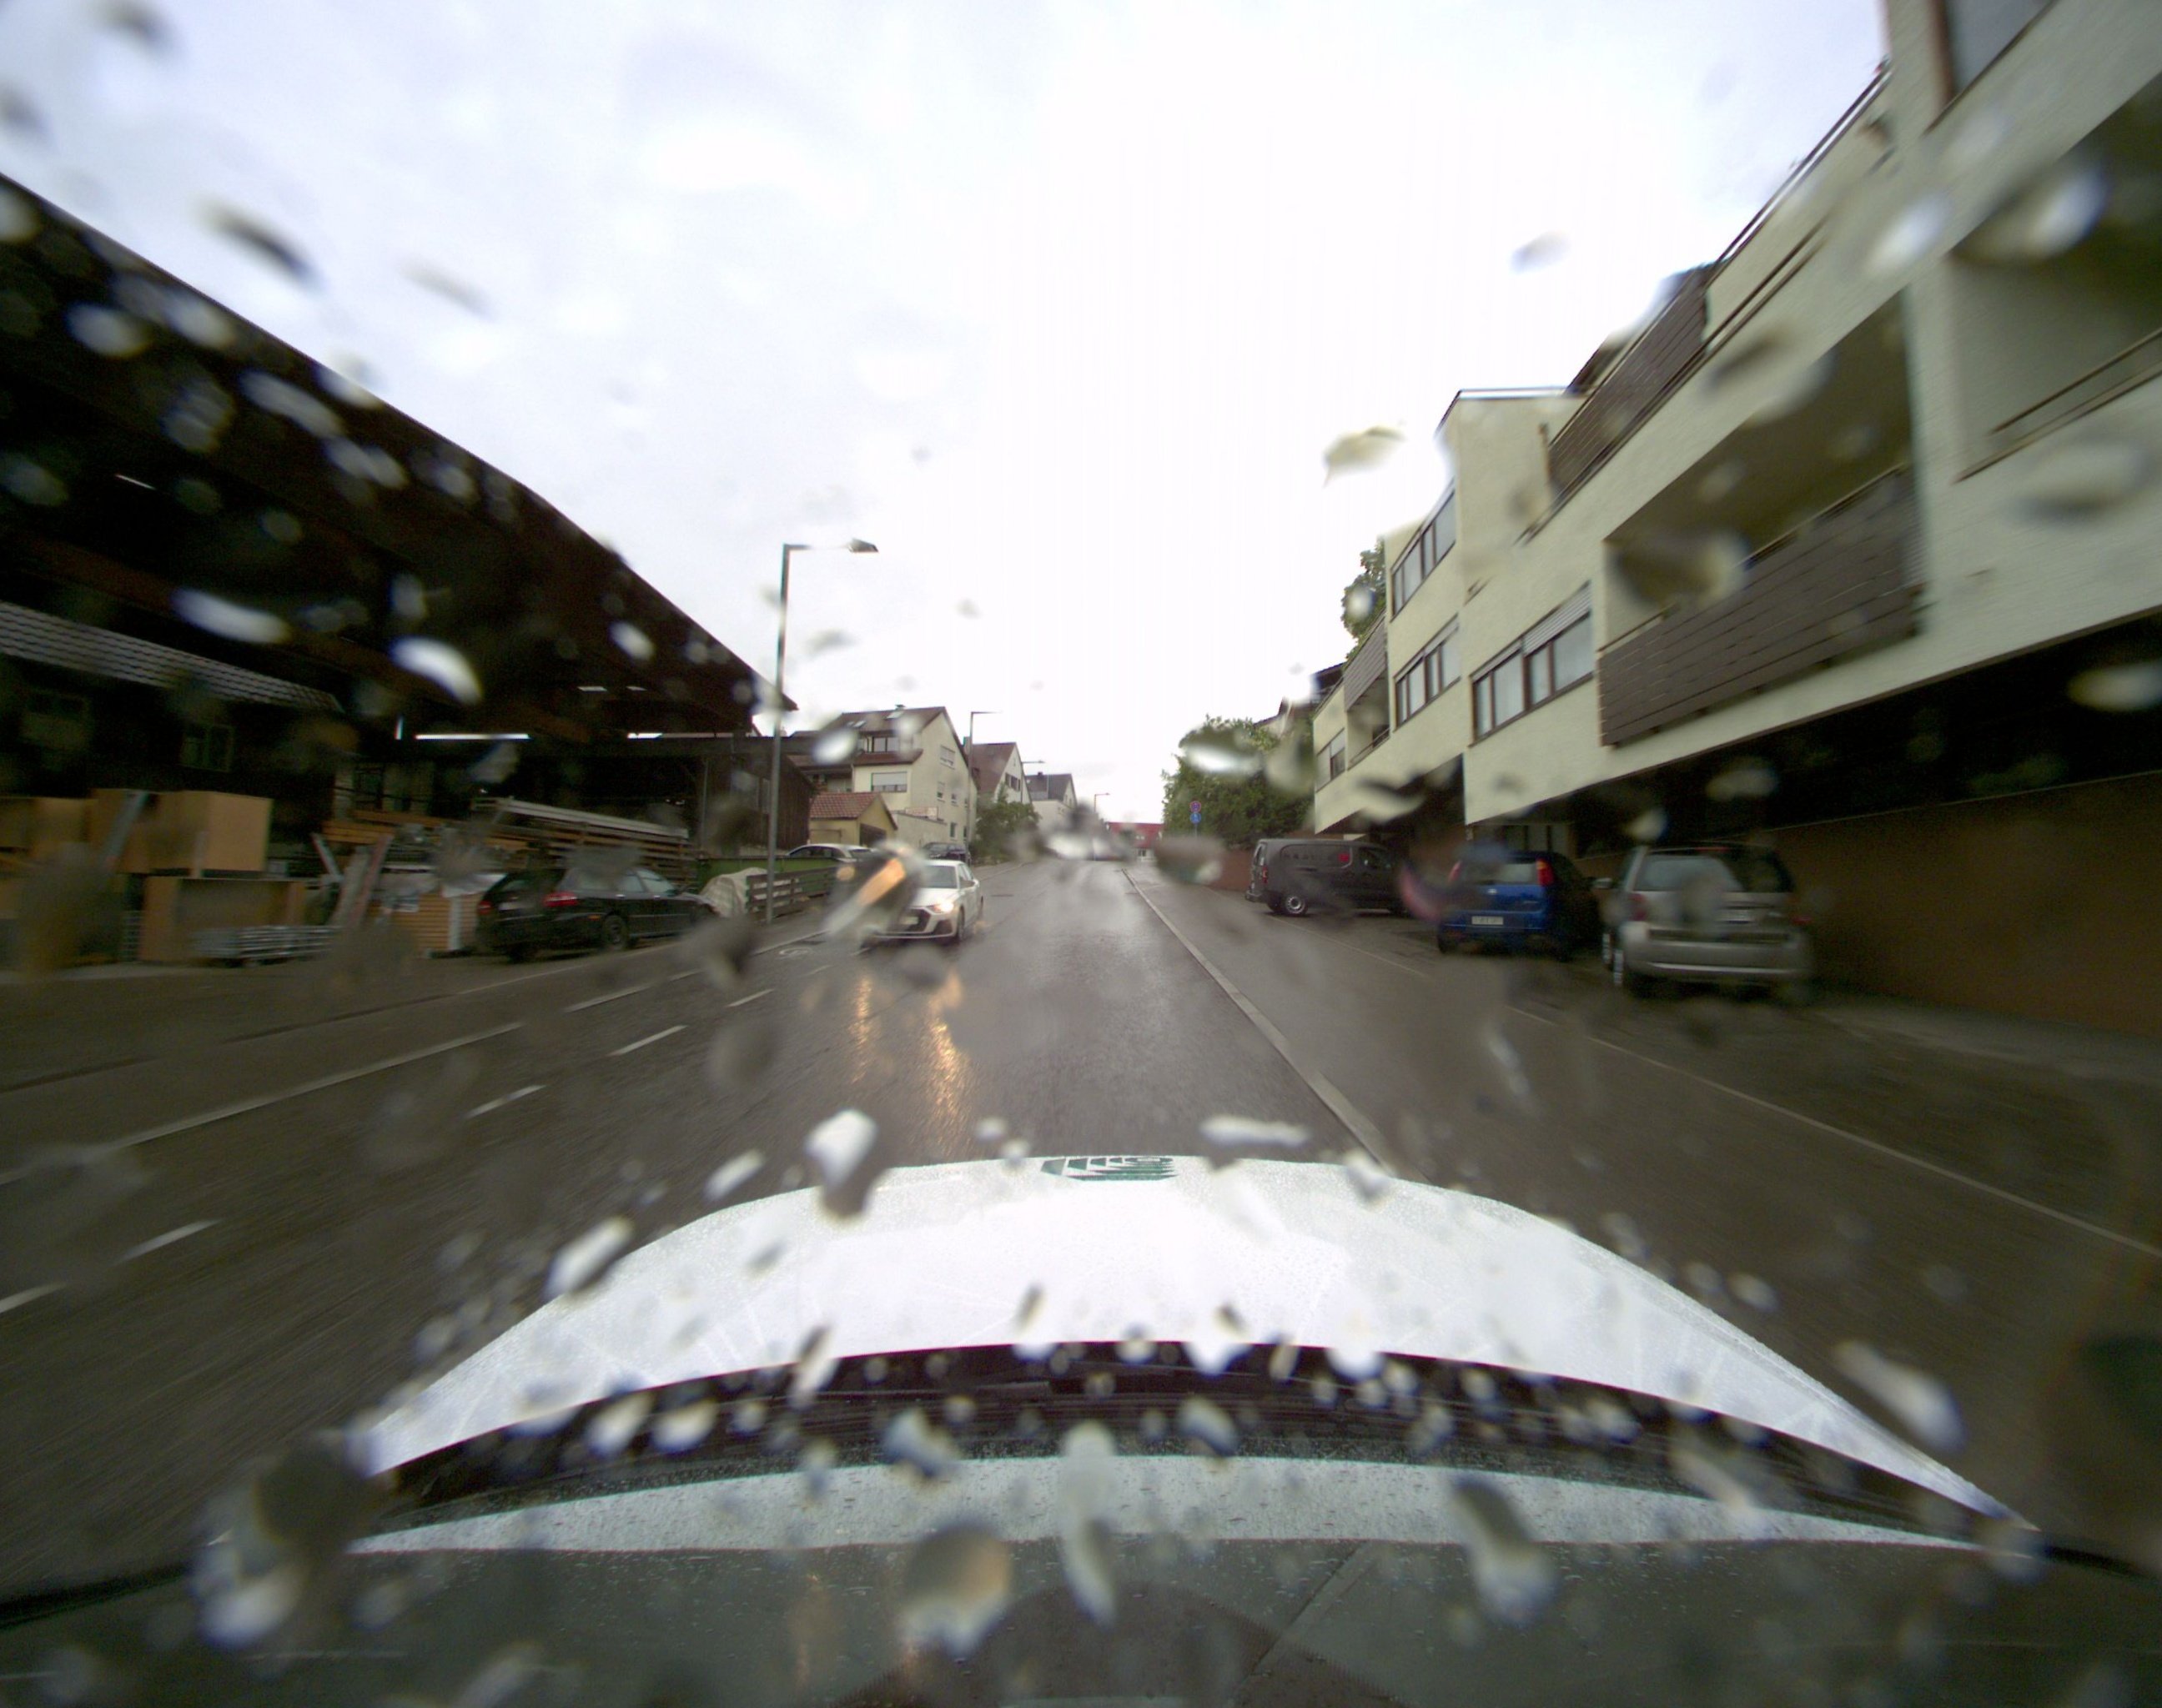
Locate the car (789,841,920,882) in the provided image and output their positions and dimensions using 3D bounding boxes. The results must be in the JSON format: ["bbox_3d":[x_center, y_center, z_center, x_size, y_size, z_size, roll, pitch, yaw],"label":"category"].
[{"bbox_3d":[-8.648,0.272,31.198,4.465,1.505,1.907,0,0,13],"label":"car"}]

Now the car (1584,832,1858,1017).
[{"bbox_3d":[6.926,0.624,9.286,1.765,1.578,4.091,2,0,29],"label":"car"}]

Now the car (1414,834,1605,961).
[{"bbox_3d":[6.637,0.567,12.376,1.765,1.578,4.092,2,0,39],"label":"car"}]

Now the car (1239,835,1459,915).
[{"bbox_3d":[6.362,0.475,19.731,4.691,1.820,2.000,0,0,0],"label":"car"}]

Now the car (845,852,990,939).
[{"bbox_3d":[-2.919,0.697,15.422,1.696,1.388,4.053,-2,-1,3],"label":"car"}]

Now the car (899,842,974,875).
[{"bbox_3d":[-7.503,0.213,42.799,1.960,1.659,4.982,0,0,14],"label":"car"}]

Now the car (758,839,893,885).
[{"bbox_3d":[-8.728,0.272,27.940,3.959,1.505,1.907,0,0,13],"label":"car"}]

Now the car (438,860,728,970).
[{"bbox_3d":[-7.940,0.869,13.623,1.886,1.441,4.449,-2,0,3],"label":"car"}]
